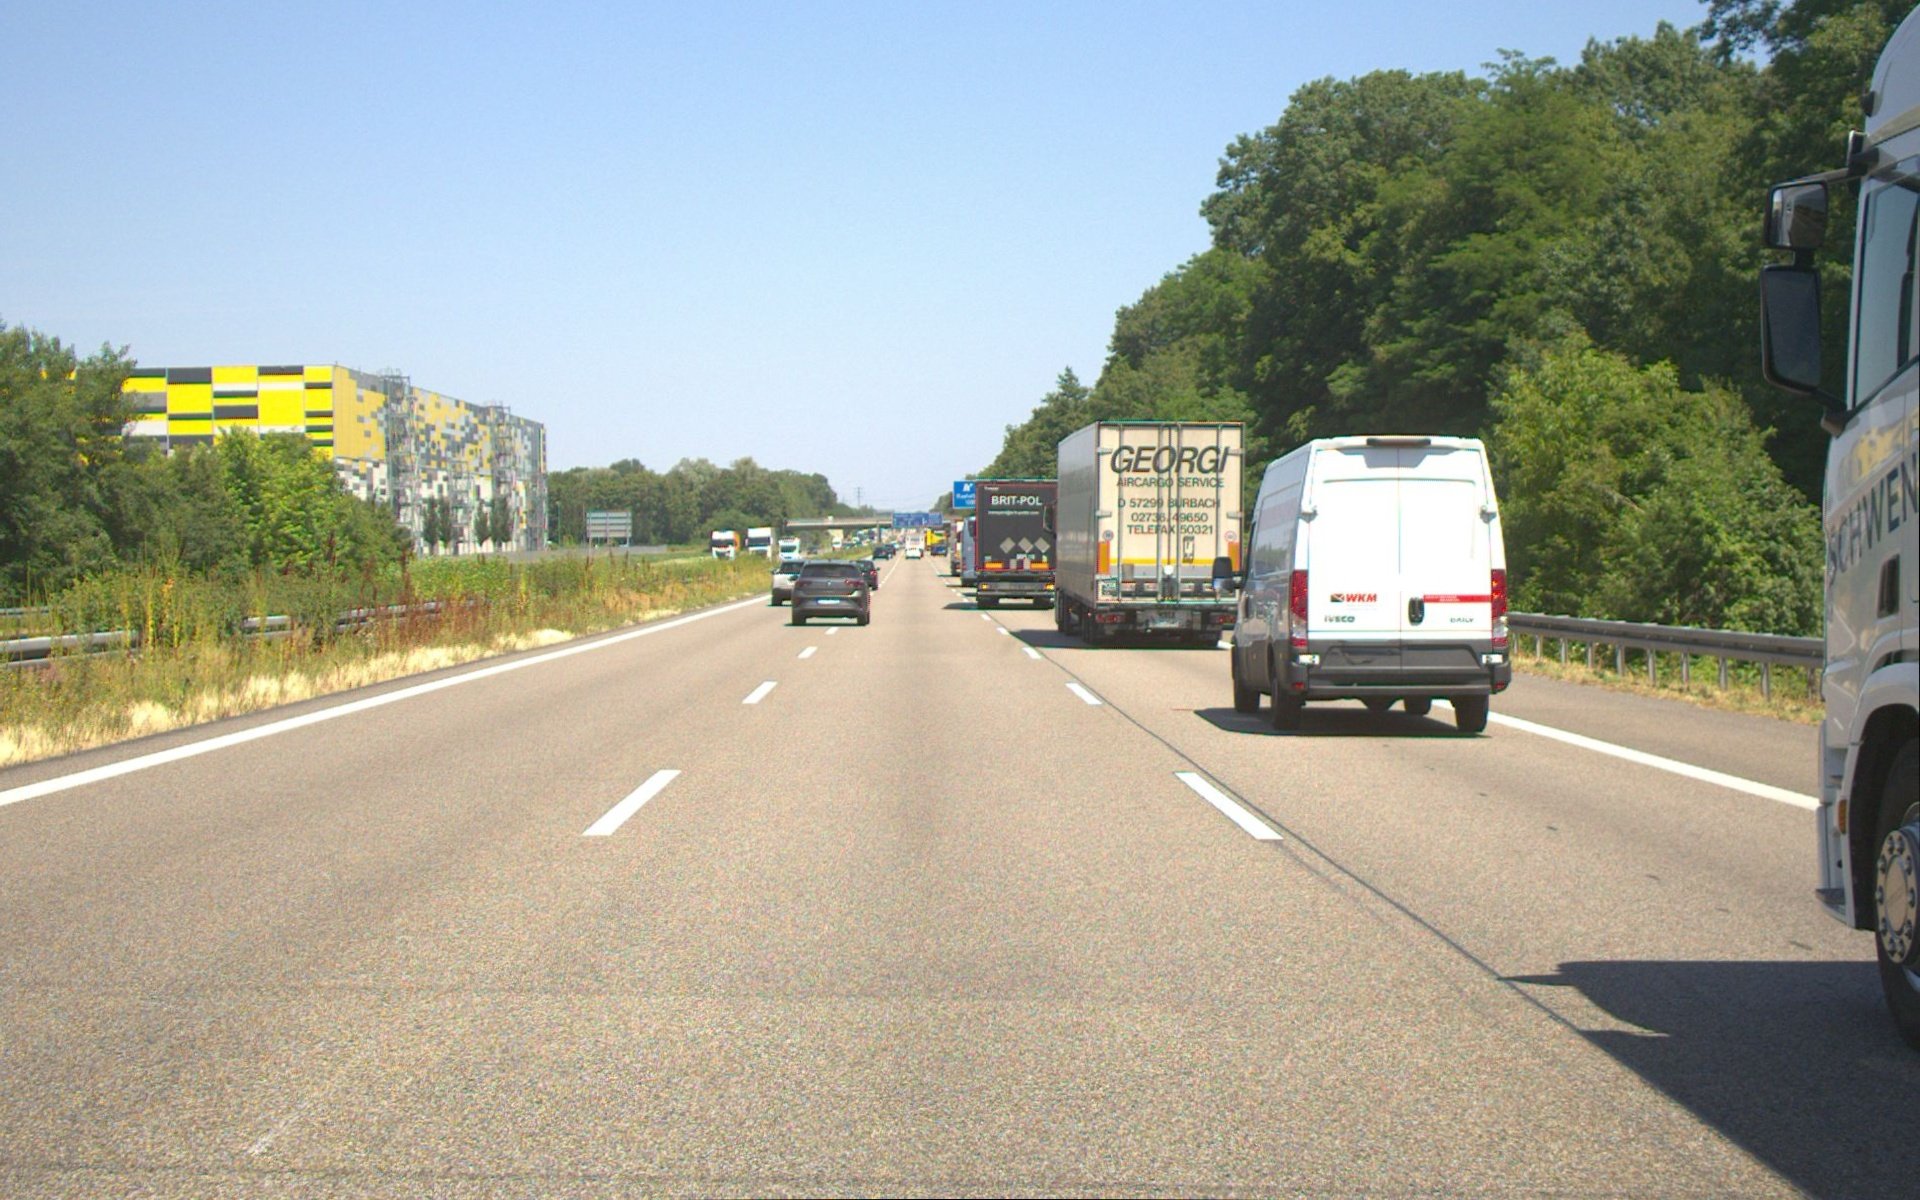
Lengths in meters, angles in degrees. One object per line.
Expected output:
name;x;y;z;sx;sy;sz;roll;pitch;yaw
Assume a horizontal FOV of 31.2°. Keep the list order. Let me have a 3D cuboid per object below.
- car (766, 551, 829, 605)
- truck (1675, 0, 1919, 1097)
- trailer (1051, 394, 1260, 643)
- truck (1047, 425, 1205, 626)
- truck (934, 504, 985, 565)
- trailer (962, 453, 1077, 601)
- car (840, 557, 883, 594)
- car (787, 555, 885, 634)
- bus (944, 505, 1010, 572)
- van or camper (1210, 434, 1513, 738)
car;-5.329;-0.743;113.321;1.993;1.722;4.131;0;1;-2
truck;4.217;-0.566;9.636;2.889;4.016;6.870;1;1;0
trailer;3.557;-1.509;66.161;2.993;4.274;13.419;1;1;-1
truck;3.466;-1.554;73.091;3.002;4.110;5.253;0;1;-1
truck;-0.028;-4.593;241.173;3.422;4.112;9.565;-1;1;0
trailer;1.824;-2.314;112.179;3.106;4.491;14.897;0;1;-1
car;-4.630;-1.166;162.013;1.941;1.700;4.000;0;1;-1
car;-2.927;-0.155;82.409;2.216;1.784;5.394;-1;1;-1
bus;0.853;-3.208;179.429;3.062;3.315;8.275;-1;1;-2
van or camper;3.746;-0.170;33.269;2.022;2.628;6.487;1;1;-1
